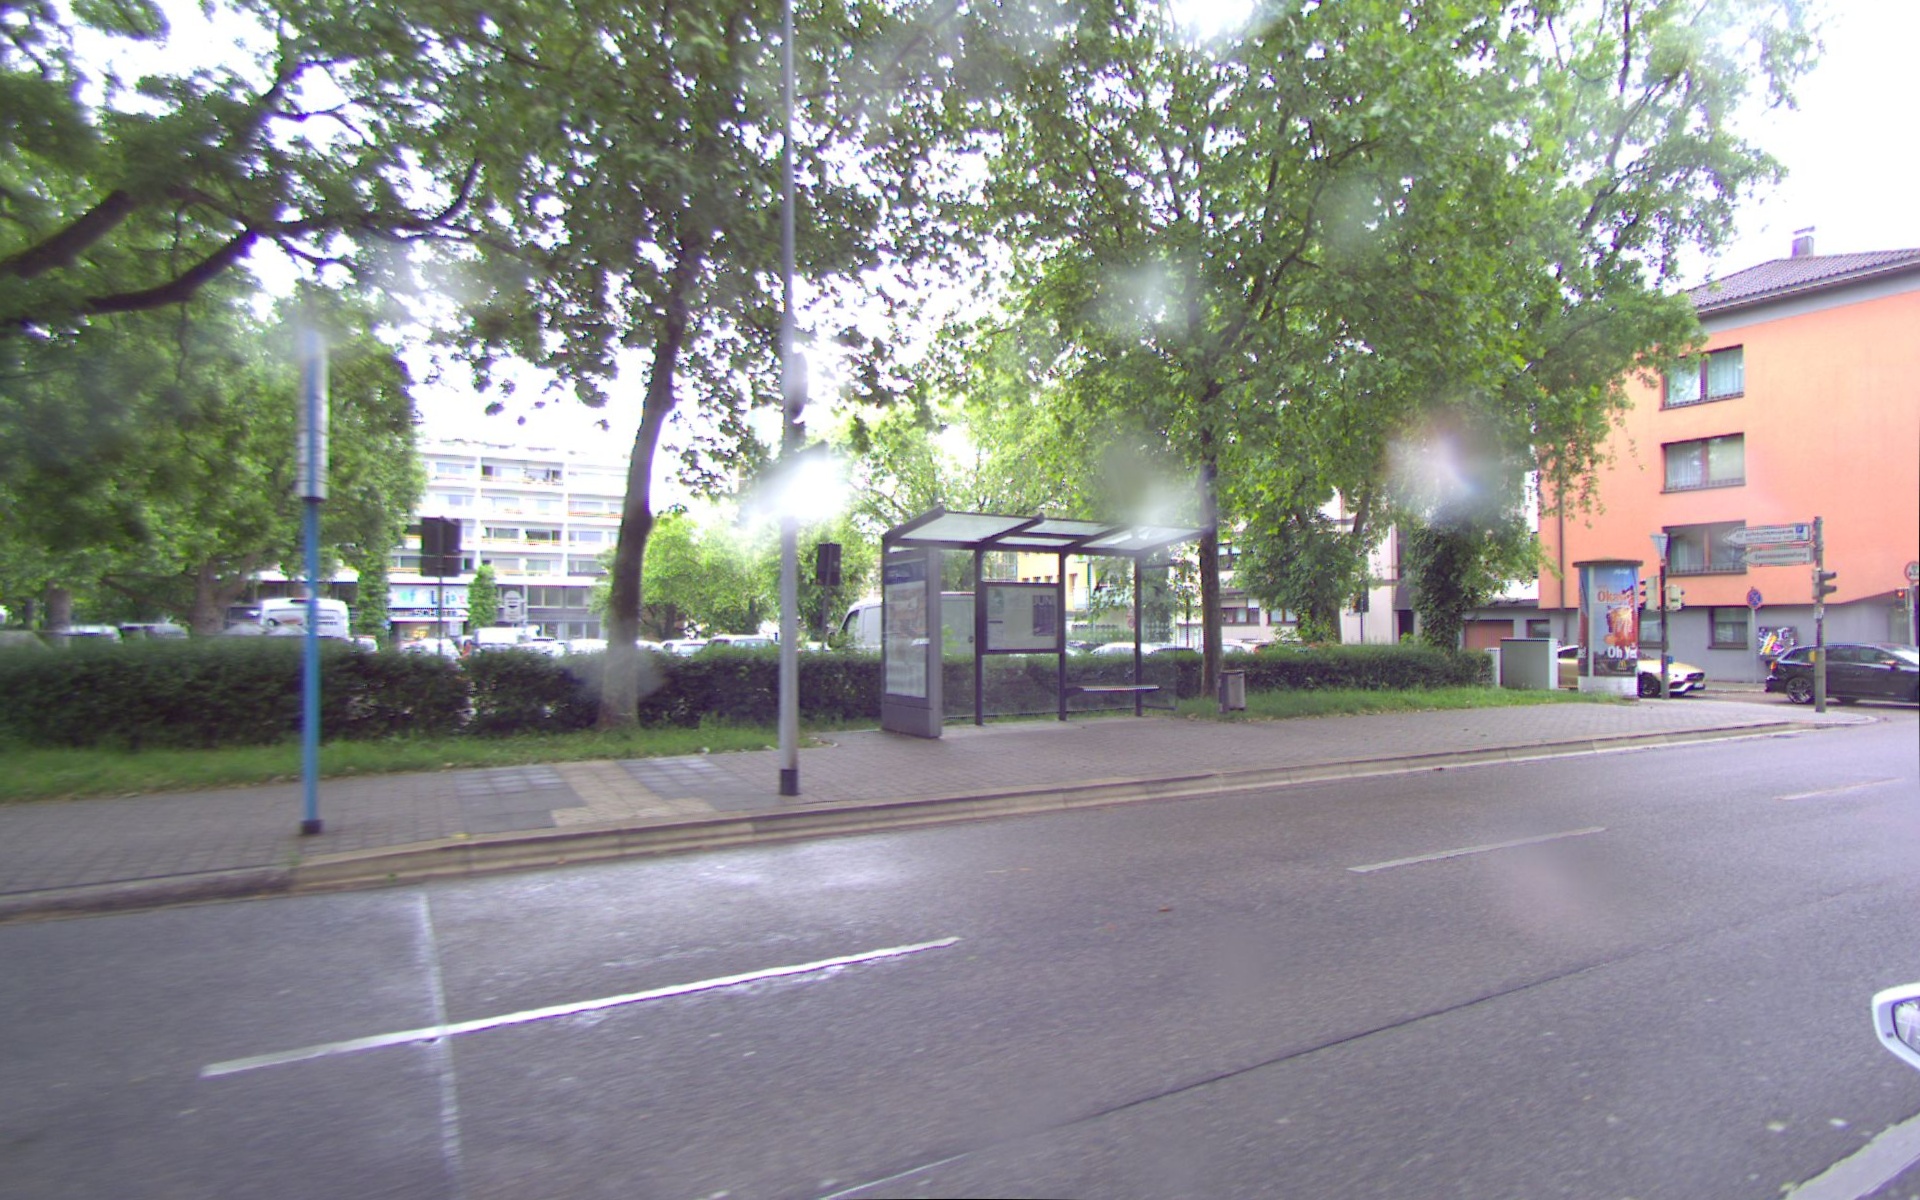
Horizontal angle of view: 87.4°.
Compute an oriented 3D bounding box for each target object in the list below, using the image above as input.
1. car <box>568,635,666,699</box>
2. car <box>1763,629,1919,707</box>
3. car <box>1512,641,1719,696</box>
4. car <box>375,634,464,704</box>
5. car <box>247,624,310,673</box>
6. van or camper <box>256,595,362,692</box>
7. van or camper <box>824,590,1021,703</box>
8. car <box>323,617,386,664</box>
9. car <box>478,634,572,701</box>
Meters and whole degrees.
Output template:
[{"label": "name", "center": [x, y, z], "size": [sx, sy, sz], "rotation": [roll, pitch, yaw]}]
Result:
[{"label": "car", "center": [-9.935, 1.861, 28.938], "size": [1.876, 1.506, 3.966], "rotation": [2, 0, -31]}, {"label": "car", "center": [20.809, 1.485, 22.441], "size": [1.824, 1.646, 4.117], "rotation": [1, -3, -22]}, {"label": "car", "center": [18.465, 1.884, 28.553], "size": [1.809, 1.422, 4.618], "rotation": [1, -3, -28]}, {"label": "car", "center": [-14.284, 1.736, 26.438], "size": [1.876, 1.506, 3.966], "rotation": [2, 0, -31]}, {"label": "car", "center": [-27.367, 1.930, 40.456], "size": [1.782, 1.848, 3.969], "rotation": [1, -3, -30]}, {"label": "van or camper", "center": [-18.047, 1.179, 28.032], "size": [2.073, 2.463, 4.310], "rotation": [1, -2, -28]}, {"label": "van or camper", "center": [-0.881, 0.890, 20.015], "size": [1.977, 1.975, 4.572], "rotation": [1, -2, -31]}, {"label": "car", "center": [-22.456, 1.461, 37.293], "size": [1.876, 1.506, 3.966], "rotation": [2, 0, -31]}, {"label": "car", "center": [-12.031, 1.801, 27.650], "size": [1.876, 1.506, 3.966], "rotation": [2, 0, -31]}]
